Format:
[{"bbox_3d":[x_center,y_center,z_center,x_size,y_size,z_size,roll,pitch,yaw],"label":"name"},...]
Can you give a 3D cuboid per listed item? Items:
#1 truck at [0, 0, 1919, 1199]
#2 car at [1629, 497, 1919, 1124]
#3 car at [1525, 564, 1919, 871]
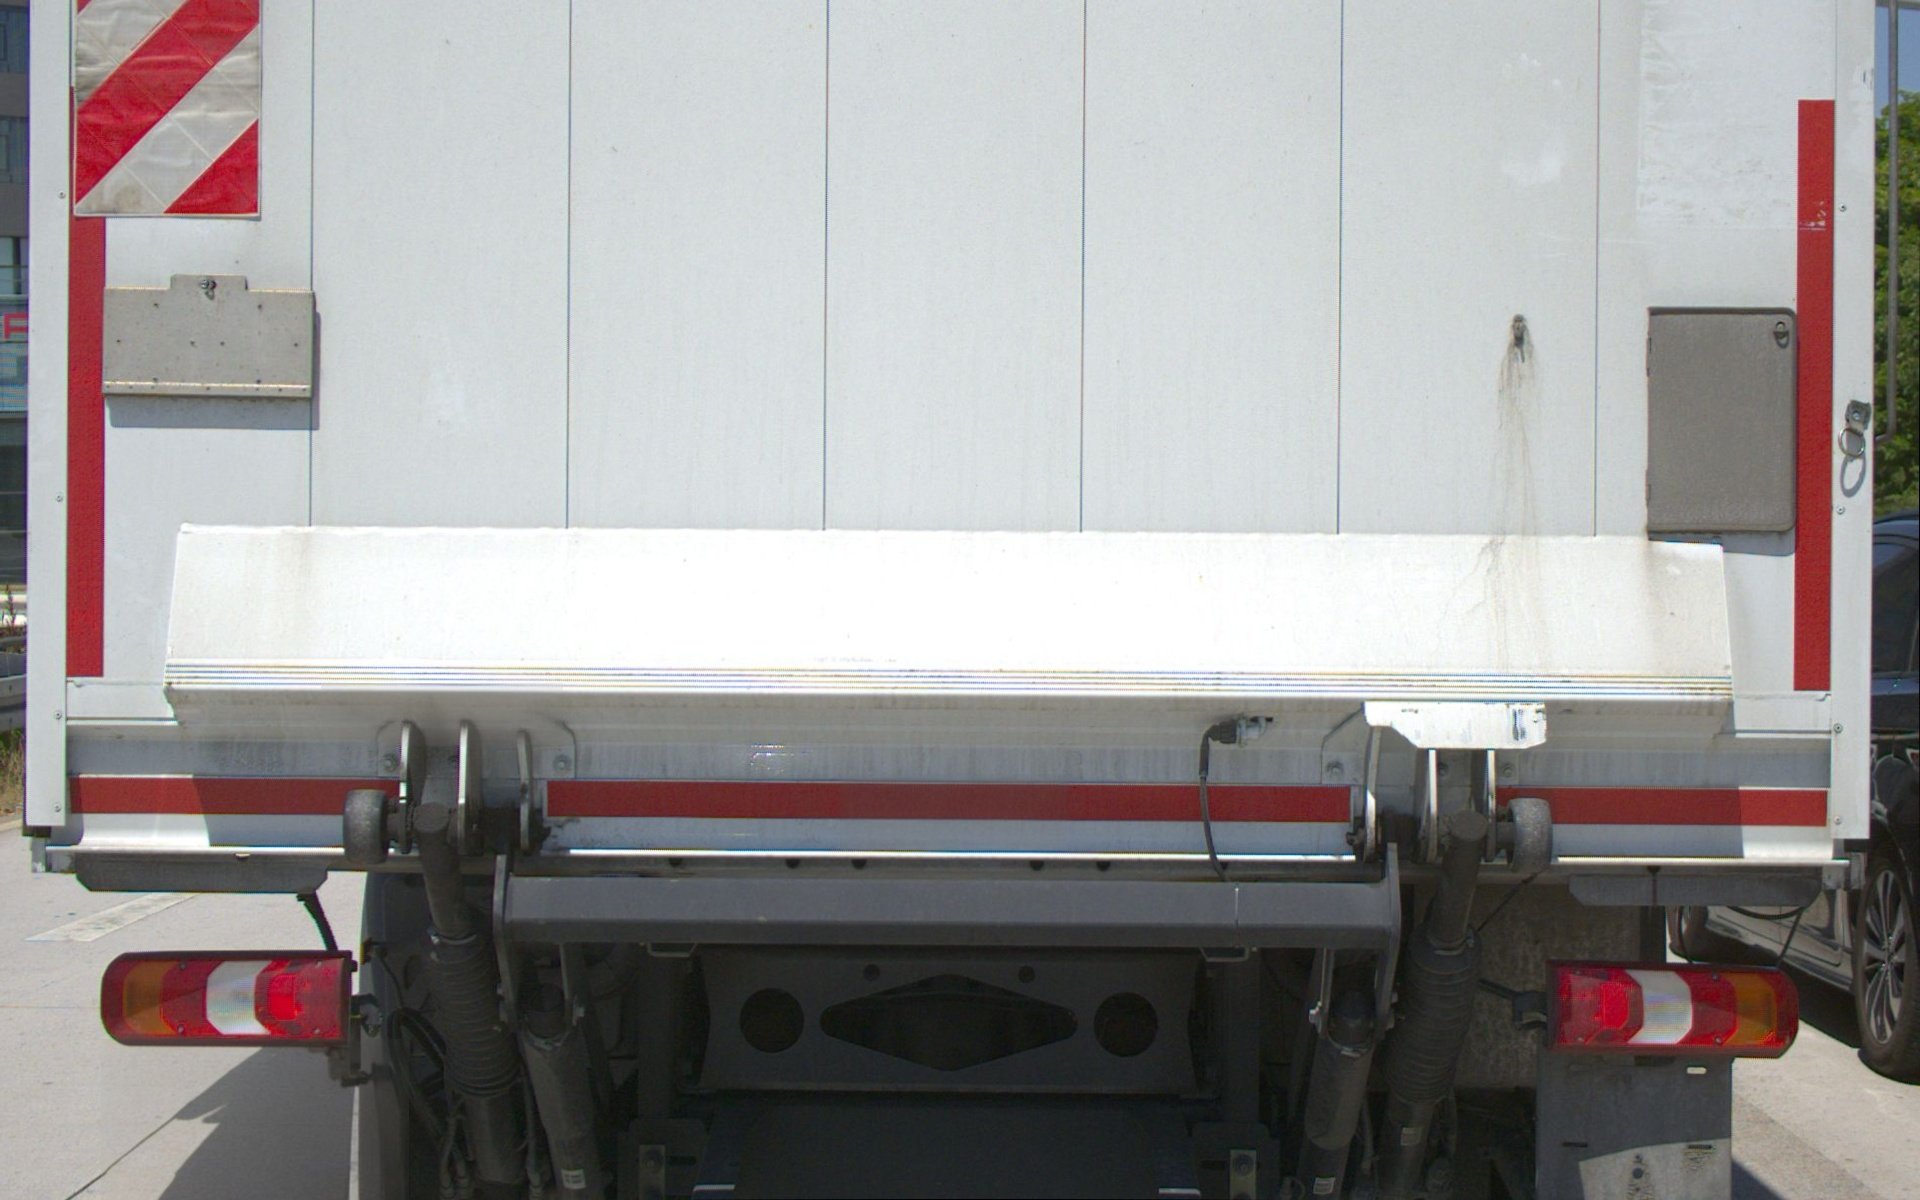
[{"bbox_3d":[-0.006,-0.552,9.174,2.769,3.846,9.371,1,1,-1],"label":"truck"},{"bbox_3d":[3.458,0.539,11.089,1.784,1.634,4.647,1,1,1],"label":"car"},{"bbox_3d":[4.189,0.528,18.260,1.768,1.405,4.609,1,1,2],"label":"car"}]
